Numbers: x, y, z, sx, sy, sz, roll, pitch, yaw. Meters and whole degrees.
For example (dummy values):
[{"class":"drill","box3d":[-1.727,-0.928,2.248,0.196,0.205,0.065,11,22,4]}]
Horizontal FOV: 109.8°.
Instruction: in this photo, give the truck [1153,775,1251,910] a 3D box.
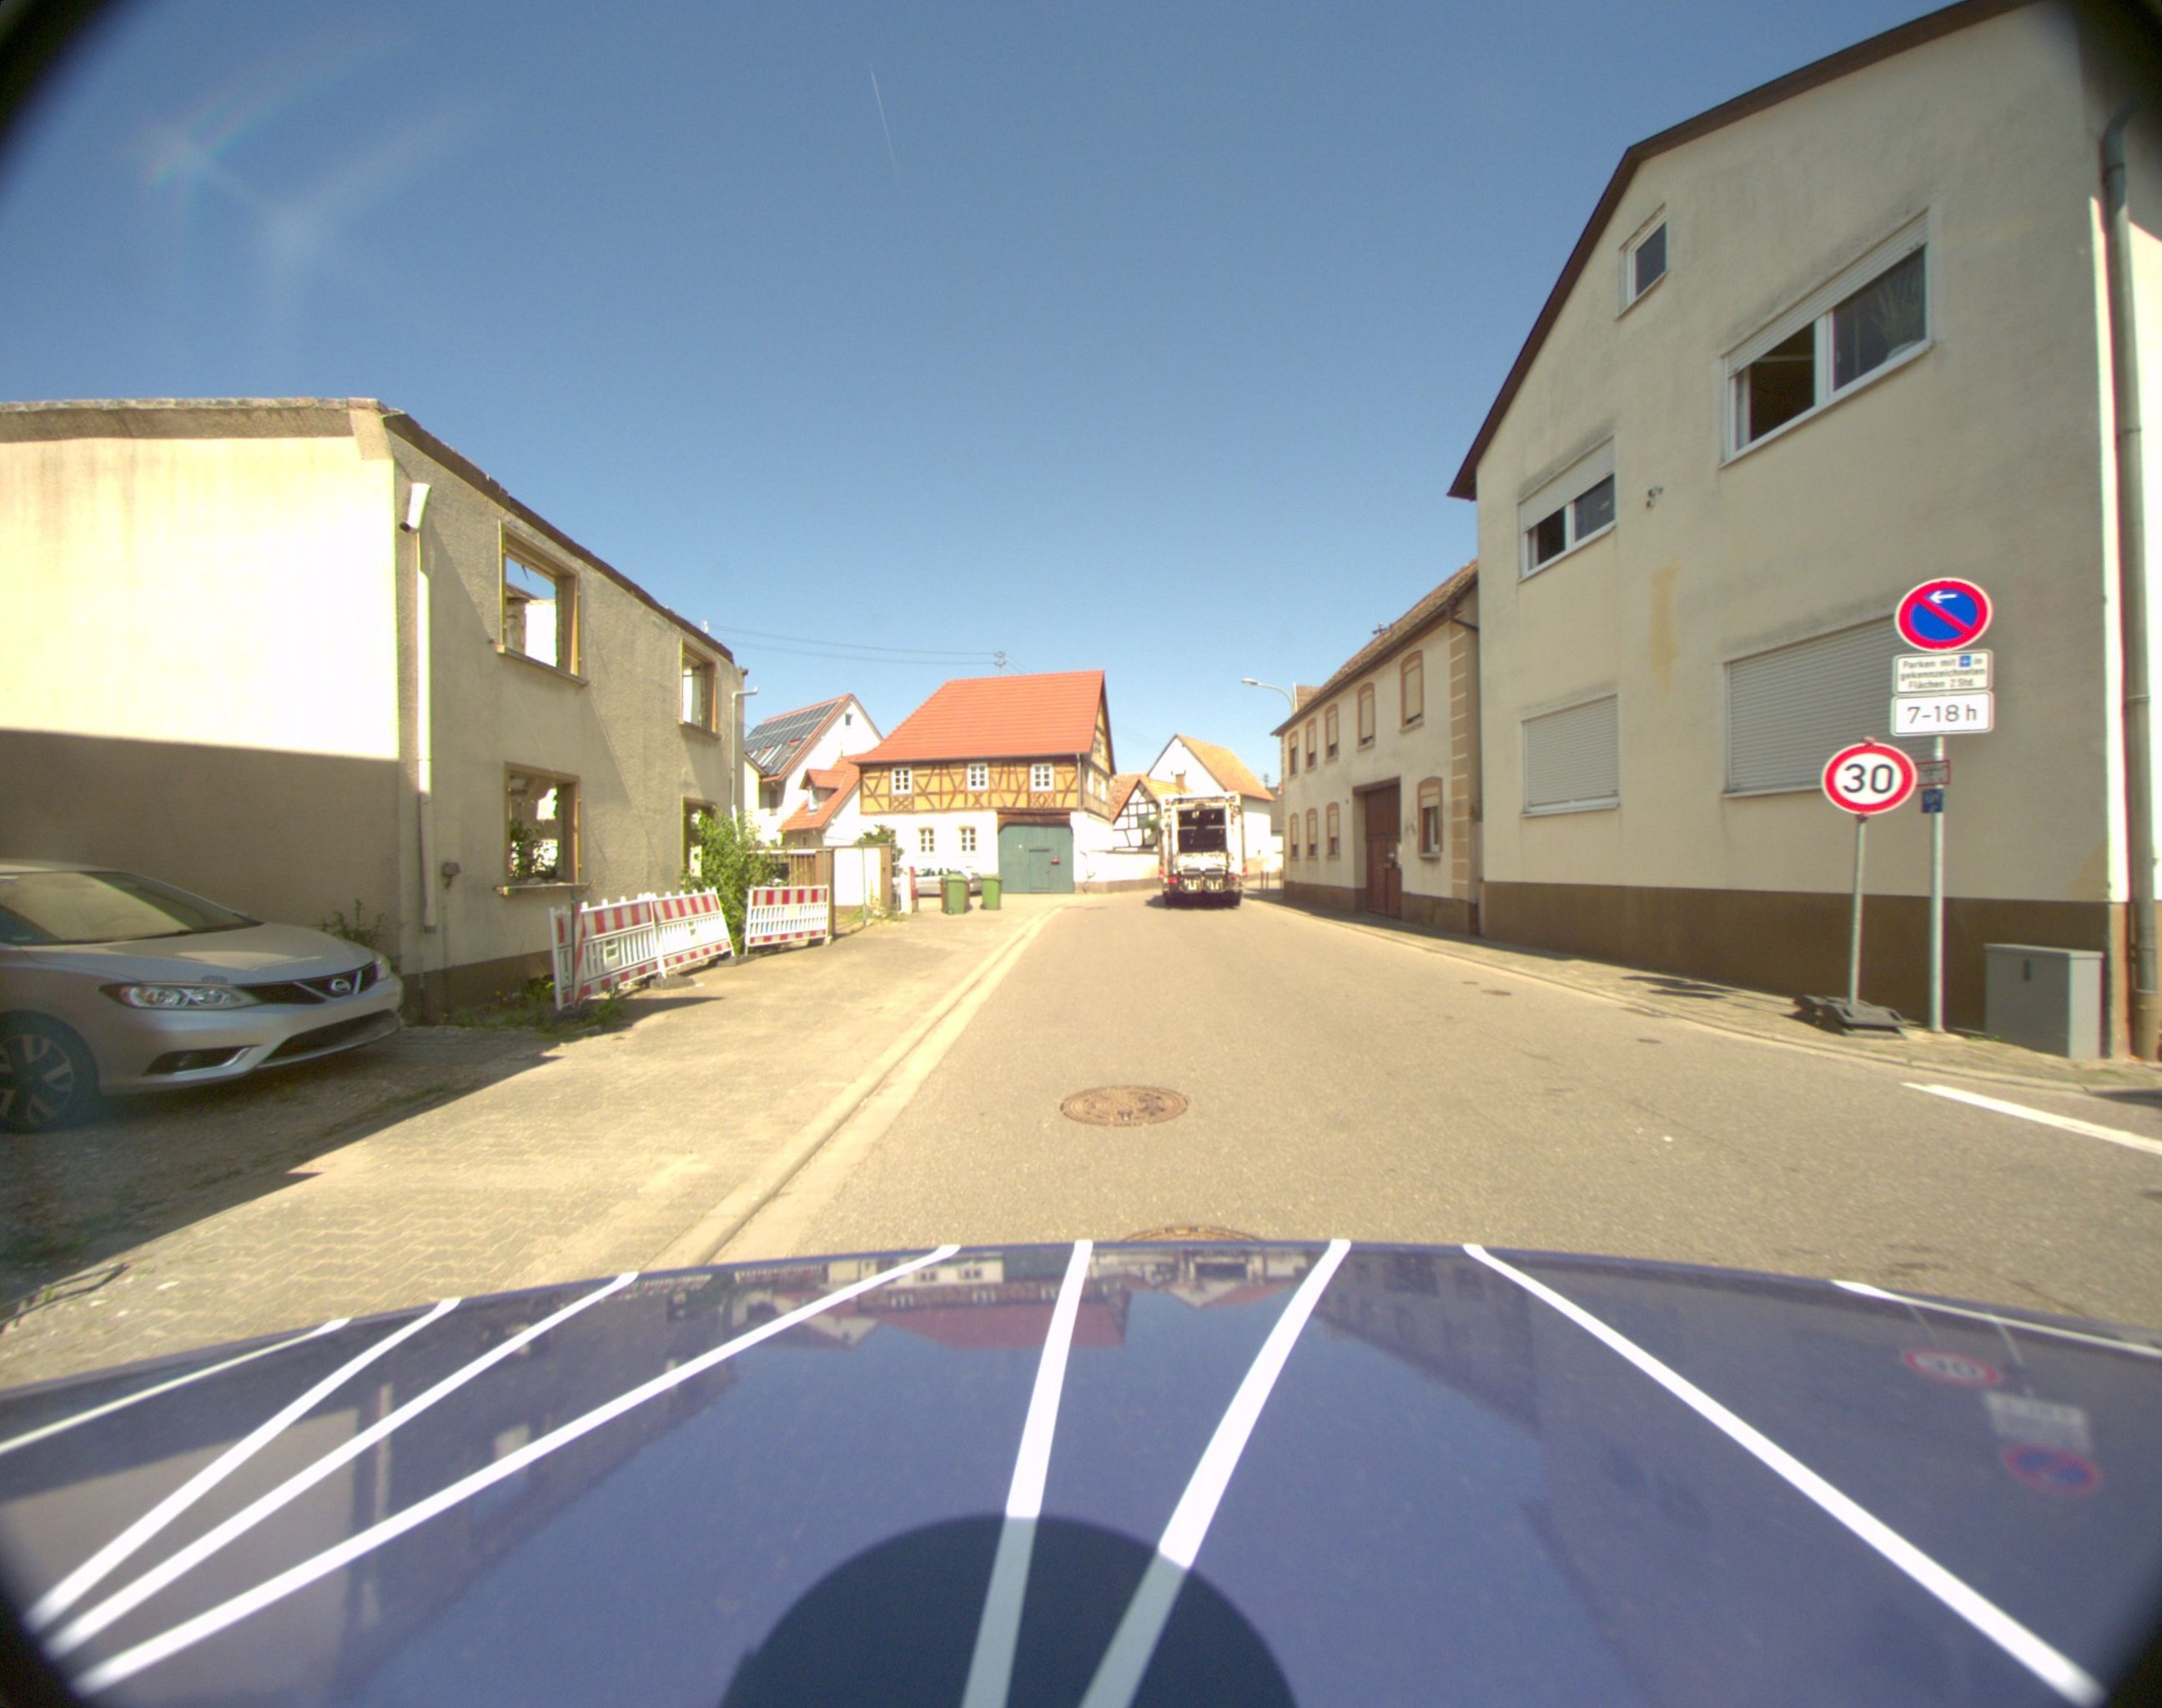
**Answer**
[{"class":"truck","box3d":[4.333,-0.308,26.569,2.700,3.728,10.878,0,0,10]}]

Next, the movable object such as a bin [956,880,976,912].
[{"class":"movable object such as a bin","box3d":[-3.460,1.256,22.912,0.445,0.944,0.463,-1,0,10]}]

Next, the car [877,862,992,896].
[{"class":"car","box3d":[-6.656,1.124,34.784,4.759,1.443,2.002,0,0,12]}]

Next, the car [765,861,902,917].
[{"class":"car","box3d":[-7.346,0.986,23.078,1.813,1.519,4.302,0,0,17]}]

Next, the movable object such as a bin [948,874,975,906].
[{"class":"movable object such as a bin","box3d":[-4.088,1.223,25.946,0.721,1.075,0.755,-1,0,6]}]

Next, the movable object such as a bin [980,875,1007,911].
[{"class":"movable object such as a bin","box3d":[-2.739,1.220,23.765,0.688,1.085,0.638,-1,0,10]}]

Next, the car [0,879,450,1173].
[{"class":"car","box3d":[-6.920,0.936,4.861,4.100,1.498,1.869,0,0,-4]}]

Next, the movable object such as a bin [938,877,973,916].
[{"class":"movable object such as a bin","box3d":[-3.565,1.197,21.592,0.763,1.066,0.671,-1,0,-31]}]

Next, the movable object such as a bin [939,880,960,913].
[{"class":"movable object such as a bin","box3d":[-3.956,1.266,22.879,0.465,0.965,0.496,-1,0,9]}]
